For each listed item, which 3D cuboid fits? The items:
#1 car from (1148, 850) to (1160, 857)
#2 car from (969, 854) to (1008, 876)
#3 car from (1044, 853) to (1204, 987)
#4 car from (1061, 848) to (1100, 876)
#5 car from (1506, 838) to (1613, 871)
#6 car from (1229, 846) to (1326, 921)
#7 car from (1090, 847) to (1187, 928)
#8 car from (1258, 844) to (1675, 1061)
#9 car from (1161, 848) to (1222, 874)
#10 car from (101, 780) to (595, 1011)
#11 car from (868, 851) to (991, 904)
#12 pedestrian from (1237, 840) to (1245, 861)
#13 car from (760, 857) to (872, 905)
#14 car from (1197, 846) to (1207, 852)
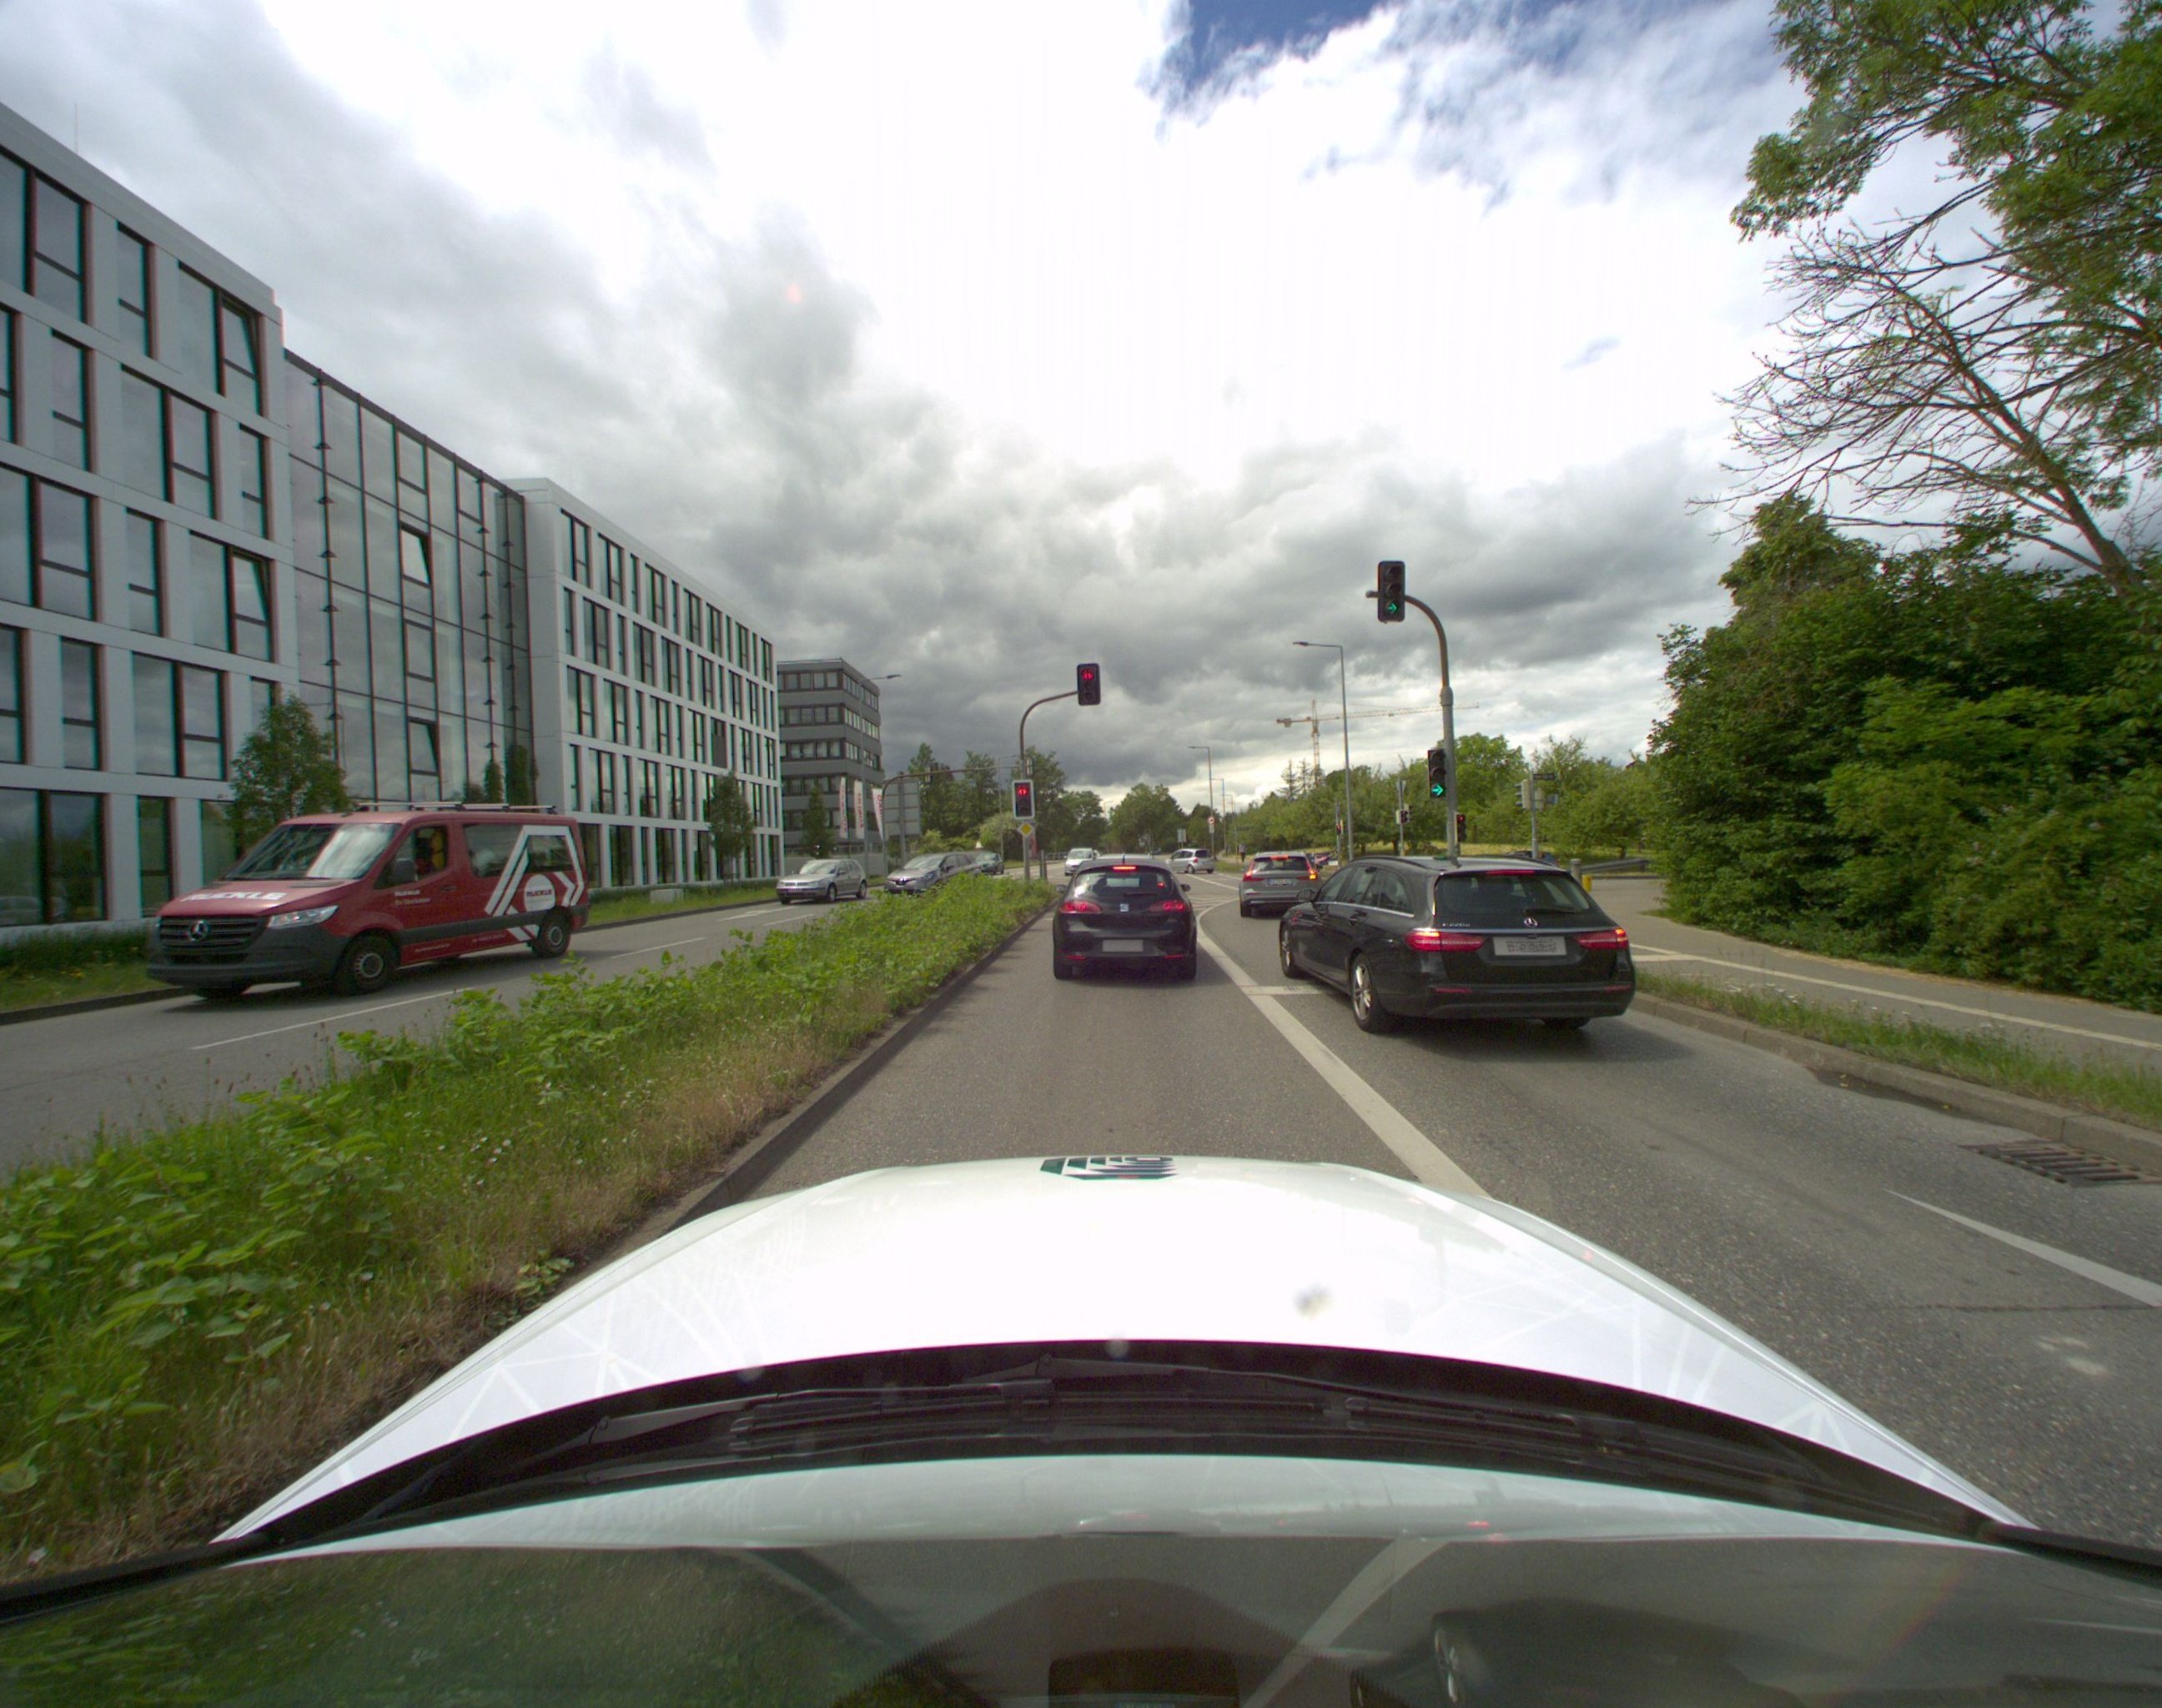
[{"bbox_3d":[14.482,-0.106,161.812,1.981,1.352,4.012,-1,0,10],"label":"car"},{"bbox_3d":[-6.190,0.716,55.029,1.986,1.352,4.002,-1,0,2],"label":"car"},{"bbox_3d":[0.545,0.738,10.897,1.766,1.451,3.584,-1,0,2],"label":"car"},{"bbox_3d":[0.002,0.476,50.811,1.984,1.596,4.006,-2,0,5],"label":"car"},{"bbox_3d":[24.637,0.028,42.052,4.279,1.525,2.005,-2,0,8],"label":"car"},{"bbox_3d":[4.594,0.615,19.627,1.852,1.518,4.457,-3,0,9],"label":"car"},{"bbox_3d":[1.142,0.635,17.593,1.767,1.491,3.581,-3,0,0],"label":"car"},{"bbox_3d":[3.266,0.677,8.305,1.866,1.440,5.202,-3,0,1],"label":"car"},{"bbox_3d":[6.967,0.423,51.779,2.004,1.530,3.966,-2,0,-26],"label":"car"},{"bbox_3d":[-9.470,0.443,11.399,1.986,2.412,5.243,-2,0,2],"label":"car"},{"bbox_3d":[-4.820,0.705,26.503,1.917,1.516,4.023,-2,0,24],"label":"car"},{"bbox_3d":[13.394,-0.280,68.144,0.556,1.726,0.588,-1,0,3],"label":"pedestrian"},{"bbox_3d":[-8.765,0.853,27.338,1.982,1.354,4.009,-2,0,8],"label":"car"},{"bbox_3d":[27.643,-1.211,185.869,1.981,1.352,4.012,-1,0,10],"label":"car"}]
